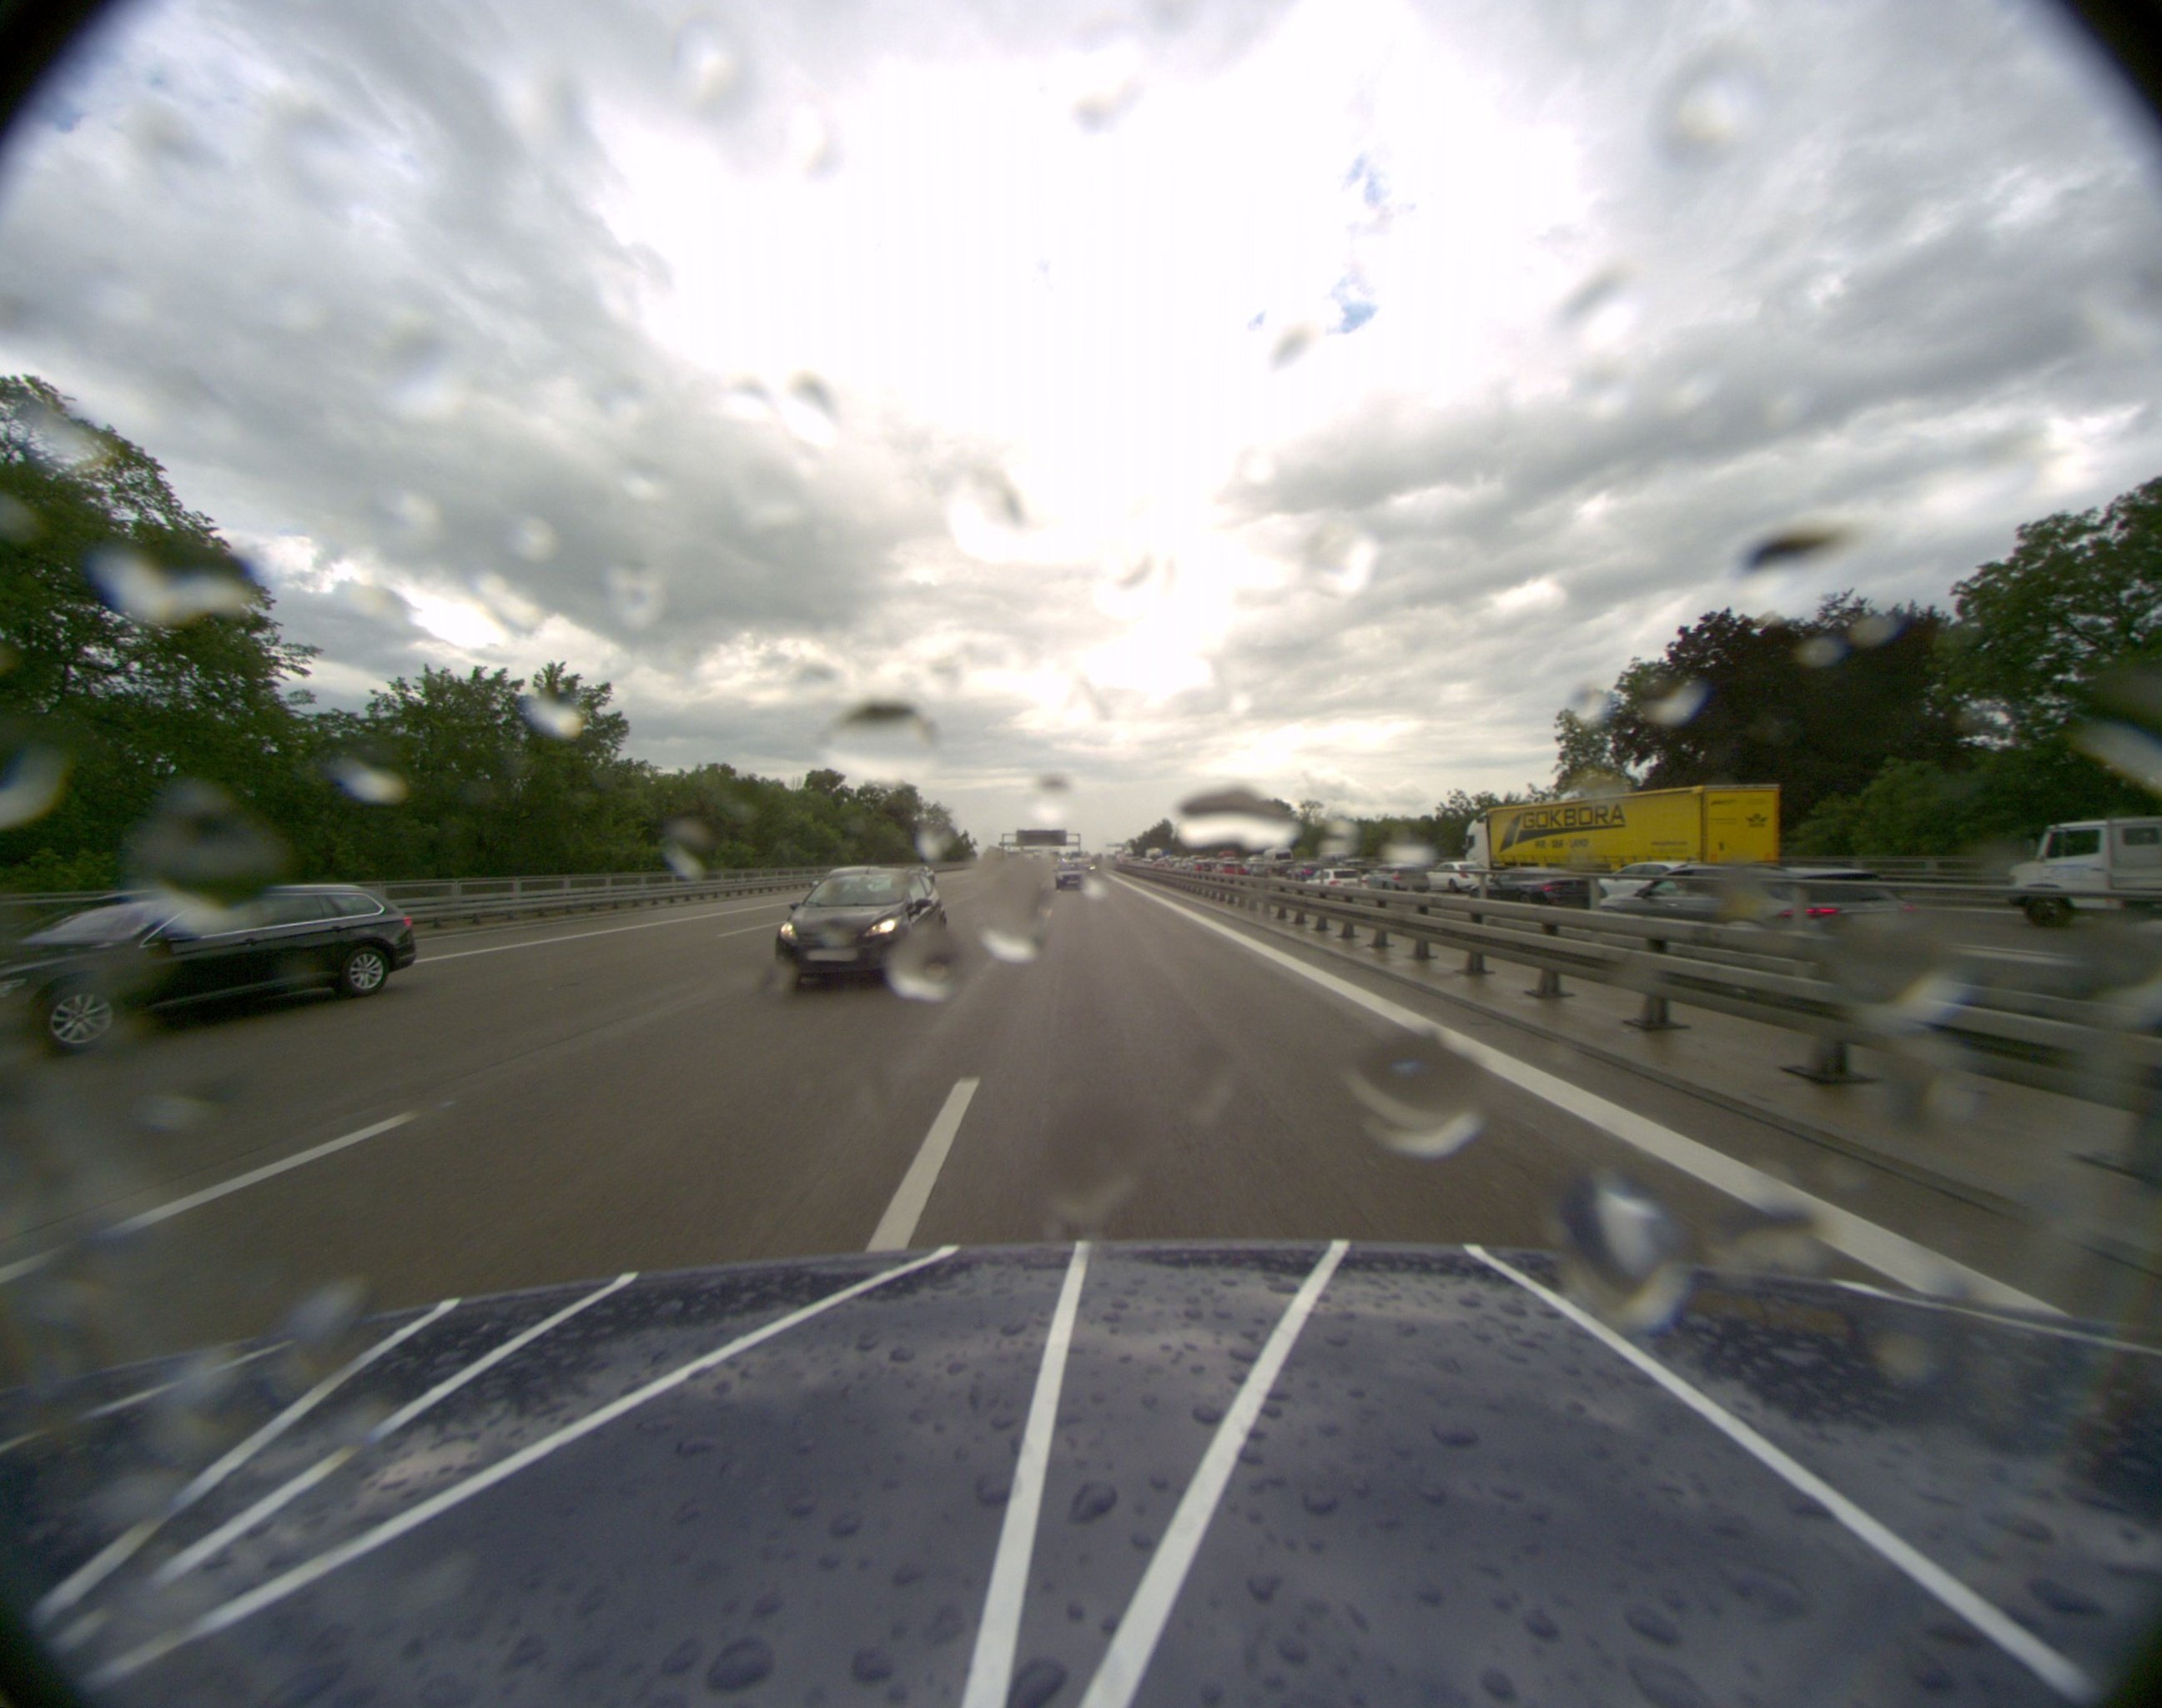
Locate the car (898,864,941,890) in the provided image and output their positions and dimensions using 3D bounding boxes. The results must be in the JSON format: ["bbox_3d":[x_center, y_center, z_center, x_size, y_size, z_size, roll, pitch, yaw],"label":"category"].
[{"bbox_3d":[-9.951,1.378,47.063,1.781,1.438,4.587,-2,0,-2],"label":"car"}]

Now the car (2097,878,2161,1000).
[{"bbox_3d":[14.994,1.114,8.192,1.752,1.567,4.688,-1,0,-2],"label":"car"}]

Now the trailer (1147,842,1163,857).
[{"bbox_3d":[19.061,-1.091,196.336,2.468,3.934,13.217,-1,0,-2],"label":"trailer"}]

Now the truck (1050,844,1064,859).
[{"bbox_3d":[-6.310,-0.694,199.927,2.958,3.777,12.323,-4,0,-4],"label":"truck"}]

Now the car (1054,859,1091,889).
[{"bbox_3d":[-0.486,0.977,39.088,1.781,1.399,5.015,-2,0,-2],"label":"car"}]

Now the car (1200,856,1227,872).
[{"bbox_3d":[13.942,1.046,80.293,1.868,1.603,4.462,0,0,-3],"label":"car"}]

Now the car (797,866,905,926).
[{"bbox_3d":[-6.505,1.130,21.970,1.898,1.438,4.245,-2,0,-2],"label":"car"}]

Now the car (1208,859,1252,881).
[{"bbox_3d":[10.600,1.106,54.357,2.000,1.454,4.840,-1,0,-3],"label":"car"}]

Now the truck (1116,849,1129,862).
[{"bbox_3d":[13.576,0.524,250.540,3.267,4.267,10.866,-1,0,-2],"label":"truck"}]

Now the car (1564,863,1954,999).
[{"bbox_3d":[10.950,1.085,13.032,1.918,1.756,5.331,-1,0,0],"label":"car"}]

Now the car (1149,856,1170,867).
[{"bbox_3d":[10.211,0.957,99.209,1.879,1.384,5.364,-1,0,-3],"label":"car"}]

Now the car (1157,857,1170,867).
[{"bbox_3d":[13.676,1.404,126.186,1.681,1.626,4.000,0,-1,-3],"label":"car"}]

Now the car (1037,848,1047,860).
[{"bbox_3d":[-8.867,0.069,171.770,2.037,2.587,4.513,-1,0,-1],"label":"car"}]

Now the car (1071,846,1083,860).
[{"bbox_3d":[-0.779,-0.139,132.865,1.999,2.354,4.171,-2,0,-1],"label":"car"}]

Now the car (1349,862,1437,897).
[{"bbox_3d":[14.690,1.165,36.166,1.814,1.471,5.219,-1,0,-3],"label":"car"}]

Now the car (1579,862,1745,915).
[{"bbox_3d":[18.071,1.009,23.926,1.752,1.470,4.417,-1,0,-2],"label":"car"}]

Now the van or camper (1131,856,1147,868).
[{"bbox_3d":[9.755,1.346,128.140,1.989,2.056,5.641,-1,0,-3],"label":"van or camper"}]

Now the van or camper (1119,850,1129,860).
[{"bbox_3d":[11.734,0.179,206.648,2.039,2.589,7.457,-1,0,-2],"label":"van or camper"}]

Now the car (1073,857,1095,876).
[{"bbox_3d":[0.223,1.024,65.106,1.751,1.489,4.014,-2,1,-1],"label":"car"}]

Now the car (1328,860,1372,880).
[{"bbox_3d":[18.559,1.105,52.660,1.451,1.293,3.999,-1,0,-3],"label":"car"}]

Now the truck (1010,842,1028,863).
[{"bbox_3d":[-12.496,-0.241,153.403,3.255,3.884,12.310,-2,0,-4],"label":"truck"}]

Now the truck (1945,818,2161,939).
[{"bbox_3d":[22.412,0.463,13.876,2.687,2.357,9.274,-1,0,0],"label":"truck"}]

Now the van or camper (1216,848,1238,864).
[{"bbox_3d":[22.067,0.314,114.881,1.945,2.291,6.233,-1,0,-2],"label":"van or camper"}]

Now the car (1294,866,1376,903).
[{"bbox_3d":[10.706,1.235,32.410,1.767,1.375,4.819,-1,0,-2],"label":"car"}]

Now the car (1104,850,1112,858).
[{"bbox_3d":[7.380,-0.007,207.164,1.859,1.974,5.036,-1,0,-3],"label":"car"}]

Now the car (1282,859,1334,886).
[{"bbox_3d":[14.614,1.171,49.130,1.784,1.602,4.576,-1,0,-3],"label":"car"}]

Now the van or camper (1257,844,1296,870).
[{"bbox_3d":[21.705,0.290,84.670,2.207,2.749,7.230,-1,0,-3],"label":"van or camper"}]

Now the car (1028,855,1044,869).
[{"bbox_3d":[-6.079,1.114,103.228,1.962,1.831,3.999,-1,0,-2],"label":"car"}]

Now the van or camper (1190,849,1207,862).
[{"bbox_3d":[21.677,0.229,140.473,2.051,2.316,5.933,-1,0,-2],"label":"van or camper"}]

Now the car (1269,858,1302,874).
[{"bbox_3d":[18.443,1.079,68.681,1.638,1.410,3.999,-1,0,-3],"label":"car"}]

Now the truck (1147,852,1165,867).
[{"bbox_3d":[13.616,0.914,138.288,2.152,2.587,8.754,-1,0,-2],"label":"truck"}]

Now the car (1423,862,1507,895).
[{"bbox_3d":[18.279,1.125,36.387,1.828,1.429,4.051,-1,0,-3],"label":"car"}]

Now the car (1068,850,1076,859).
[{"bbox_3d":[-2.347,0.134,196.297,1.999,2.002,3.507,-2,0,-1],"label":"car"}]

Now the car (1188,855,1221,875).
[{"bbox_3d":[10.675,0.942,65.999,1.872,1.660,5.173,-1,0,-3],"label":"car"}]

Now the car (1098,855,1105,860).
[{"bbox_3d":[6.230,1.053,232.532,1.674,1.497,3.999,-1,0,-2],"label":"car"}]

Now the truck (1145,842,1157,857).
[{"bbox_3d":[18.792,-1.068,204.207,2.468,3.942,6.981,-1,0,-2],"label":"truck"}]

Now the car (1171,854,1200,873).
[{"bbox_3d":[10.688,0.955,78.161,1.871,1.815,5.707,-1,0,-3],"label":"car"}]

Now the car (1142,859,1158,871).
[{"bbox_3d":[10.065,1.566,111.150,1.830,1.665,5.357,-1,0,-2],"label":"car"}]

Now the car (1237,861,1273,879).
[{"bbox_3d":[14.502,1.327,63.603,1.821,1.417,4.475,-1,0,-3],"label":"car"}]

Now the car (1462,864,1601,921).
[{"bbox_3d":[14.265,1.154,24.385,1.752,1.567,4.417,-1,0,-2],"label":"car"}]

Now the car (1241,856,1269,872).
[{"bbox_3d":[18.357,1.005,80.273,1.732,1.603,4.462,-1,0,-3],"label":"car"}]

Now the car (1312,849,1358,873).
[{"bbox_3d":[22.217,0.603,66.574,1.999,2.002,5.411,-1,0,-3],"label":"car"}]

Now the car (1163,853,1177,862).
[{"bbox_3d":[17.052,0.594,146.051,1.999,1.698,3.999,-1,0,-2],"label":"car"}]

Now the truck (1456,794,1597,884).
[{"bbox_3d":[22.837,-0.704,39.481,3.256,4.225,6.881,-1,0,0],"label":"truck"}]

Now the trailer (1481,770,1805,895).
[{"bbox_3d":[22.855,-0.734,32.967,3.256,4.203,14.508,-1,0,0],"label":"trailer"}]

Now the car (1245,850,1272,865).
[{"bbox_3d":[22.324,0.434,95.890,2.082,1.933,4.758,-1,0,-3],"label":"car"}]

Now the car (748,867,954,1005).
[{"bbox_3d":[-3.017,0.986,10.983,1.668,1.431,4.404,-2,1,-1],"label":"car"}]

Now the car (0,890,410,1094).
[{"bbox_3d":[-10.003,1.268,8.139,1.820,1.534,4.357,-2,0,-2],"label":"car"}]
